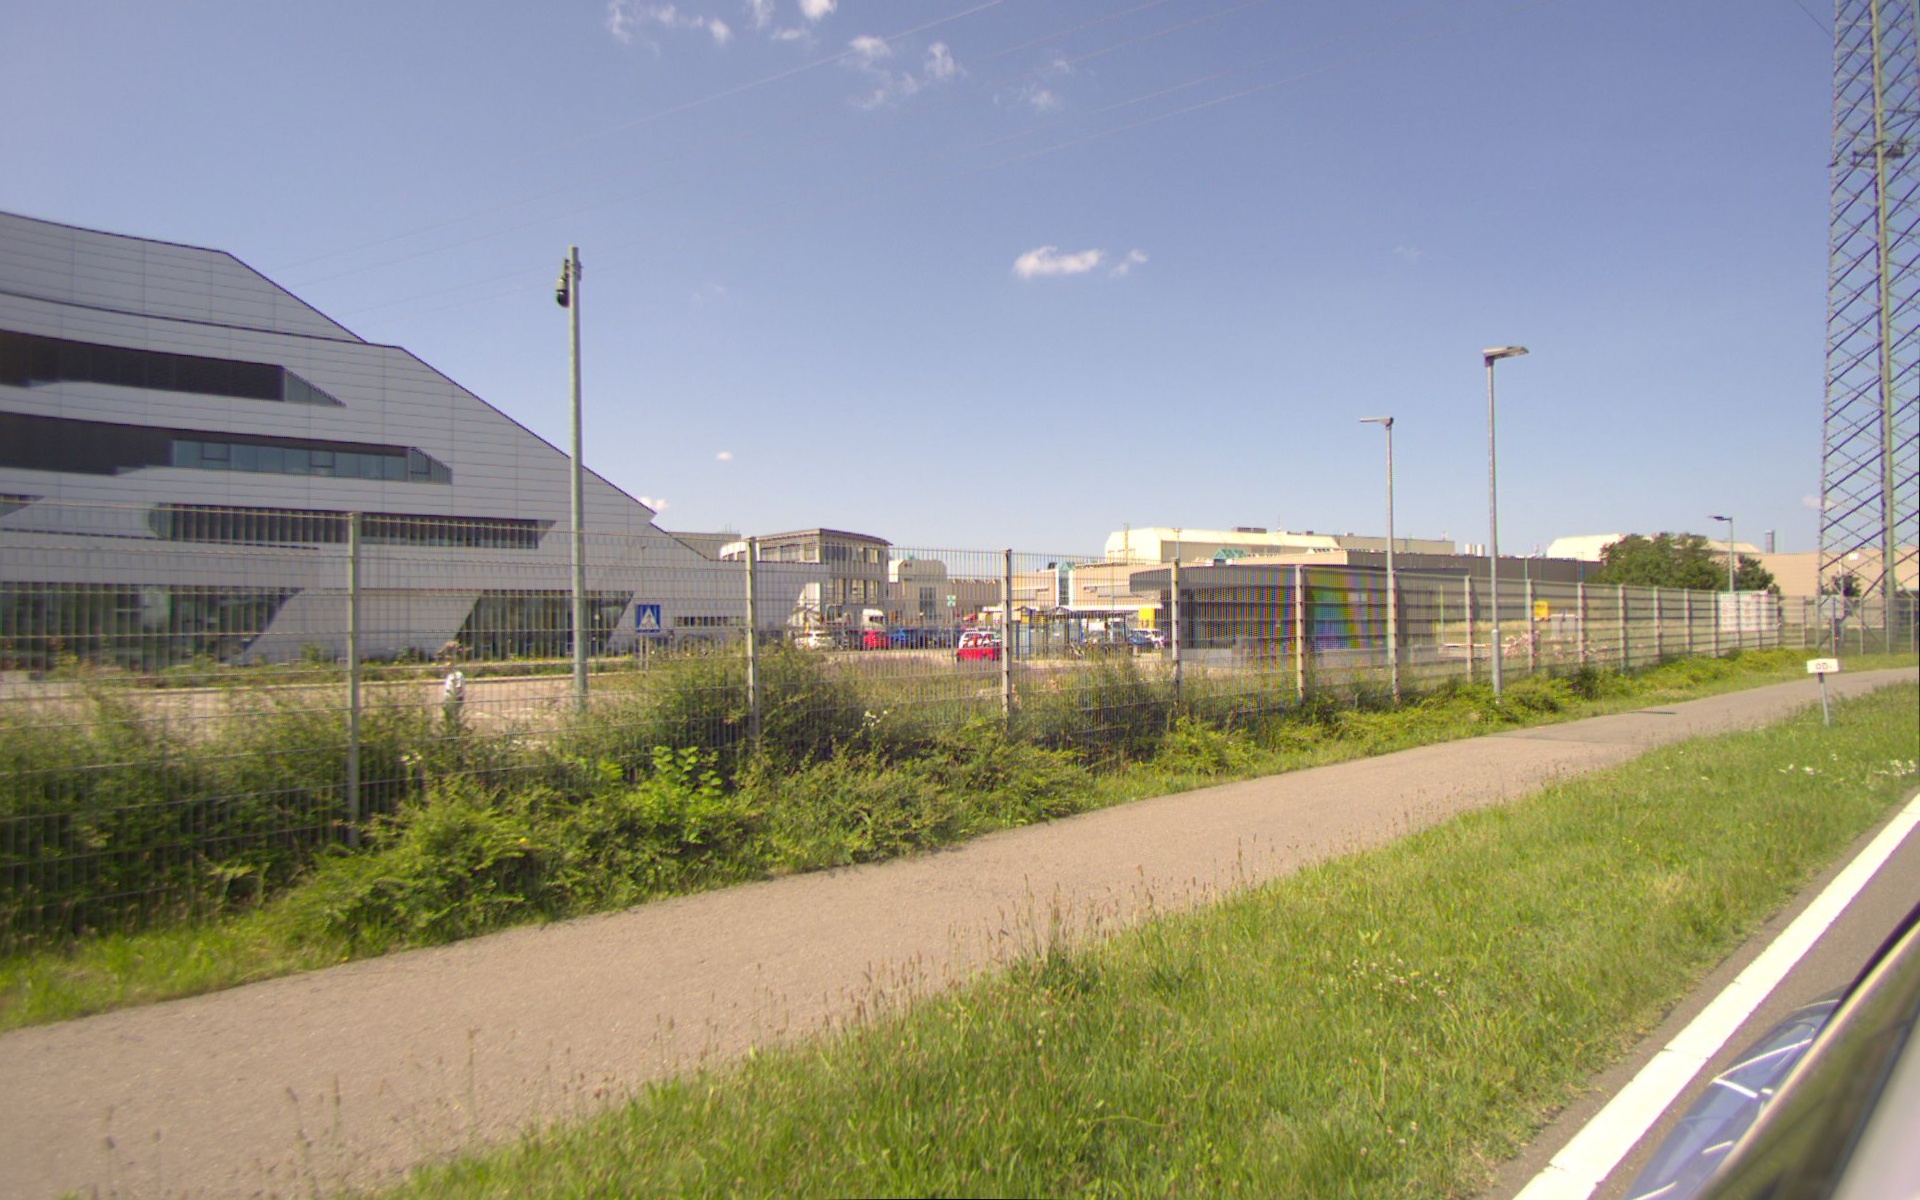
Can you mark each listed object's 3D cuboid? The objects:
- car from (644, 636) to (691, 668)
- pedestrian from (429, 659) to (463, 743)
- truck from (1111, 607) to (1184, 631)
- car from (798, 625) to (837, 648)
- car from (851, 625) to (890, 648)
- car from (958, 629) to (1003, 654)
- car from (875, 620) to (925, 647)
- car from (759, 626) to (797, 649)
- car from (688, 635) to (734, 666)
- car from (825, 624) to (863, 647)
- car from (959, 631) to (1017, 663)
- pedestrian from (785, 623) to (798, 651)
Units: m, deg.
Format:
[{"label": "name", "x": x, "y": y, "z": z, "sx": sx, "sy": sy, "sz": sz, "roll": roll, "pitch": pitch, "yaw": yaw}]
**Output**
[{"label": "car", "x": -15.368, "y": 2.723, "z": 53.111, "sx": 1.443, "sy": 1.554, "sz": 3.057, "roll": 0, "pitch": -1, "yaw": -35}, {"label": "pedestrian", "x": -10.671, "y": 2.086, "z": 21.004, "sx": 0.563, "sy": 1.674, "sz": 0.484, "roll": 0, "pitch": -2, "yaw": -37}, {"label": "truck", "x": 26.566, "y": 2.685, "z": 143.011, "sx": 11.614, "sy": 3.178, "sz": 2.001, "roll": 0, "pitch": -2, "yaw": -30}, {"label": "car", "x": -9.893, "y": 2.519, "z": 70.195, "sx": 1.443, "sy": 1.554, "sz": 3.057, "roll": 0, "pitch": -1, "yaw": -35}, {"label": "car", "x": -6.552, "y": 2.644, "z": 73.918, "sx": 1.443, "sy": 1.554, "sz": 3.057, "roll": 0, "pitch": -1, "yaw": -35}, {"label": "car", "x": 1.323, "y": 2.687, "z": 66.073, "sx": 1.443, "sy": 1.554, "sz": 3.057, "roll": 0, "pitch": -1, "yaw": -35}, {"label": "car", "x": -4.791, "y": 2.658, "z": 80.220, "sx": 1.960, "sy": 2.040, "sz": 4.755, "roll": 0, "pitch": -2, "yaw": -31}, {"label": "car", "x": -12.423, "y": 2.539, "z": 68.920, "sx": 1.443, "sy": 1.554, "sz": 3.057, "roll": 0, "pitch": -1, "yaw": -35}, {"label": "car", "x": -13.481, "y": 2.701, "z": 54.660, "sx": 1.443, "sy": 1.554, "sz": 3.057, "roll": 0, "pitch": -1, "yaw": -35}, {"label": "car", "x": -8.270, "y": 2.510, "z": 72.132, "sx": 1.443, "sy": 1.554, "sz": 3.057, "roll": 0, "pitch": -1, "yaw": -35}, {"label": "car", "x": 1.429, "y": 2.441, "z": 52.992, "sx": 1.428, "sy": 1.554, "sz": 3.151, "roll": 0, "pitch": -1, "yaw": -35}, {"label": "pedestrian", "x": -11.175, "y": 2.448, "z": 67.170, "sx": 0.674, "sy": 1.767, "sz": 0.612, "roll": 0, "pitch": 0, "yaw": -36}]
